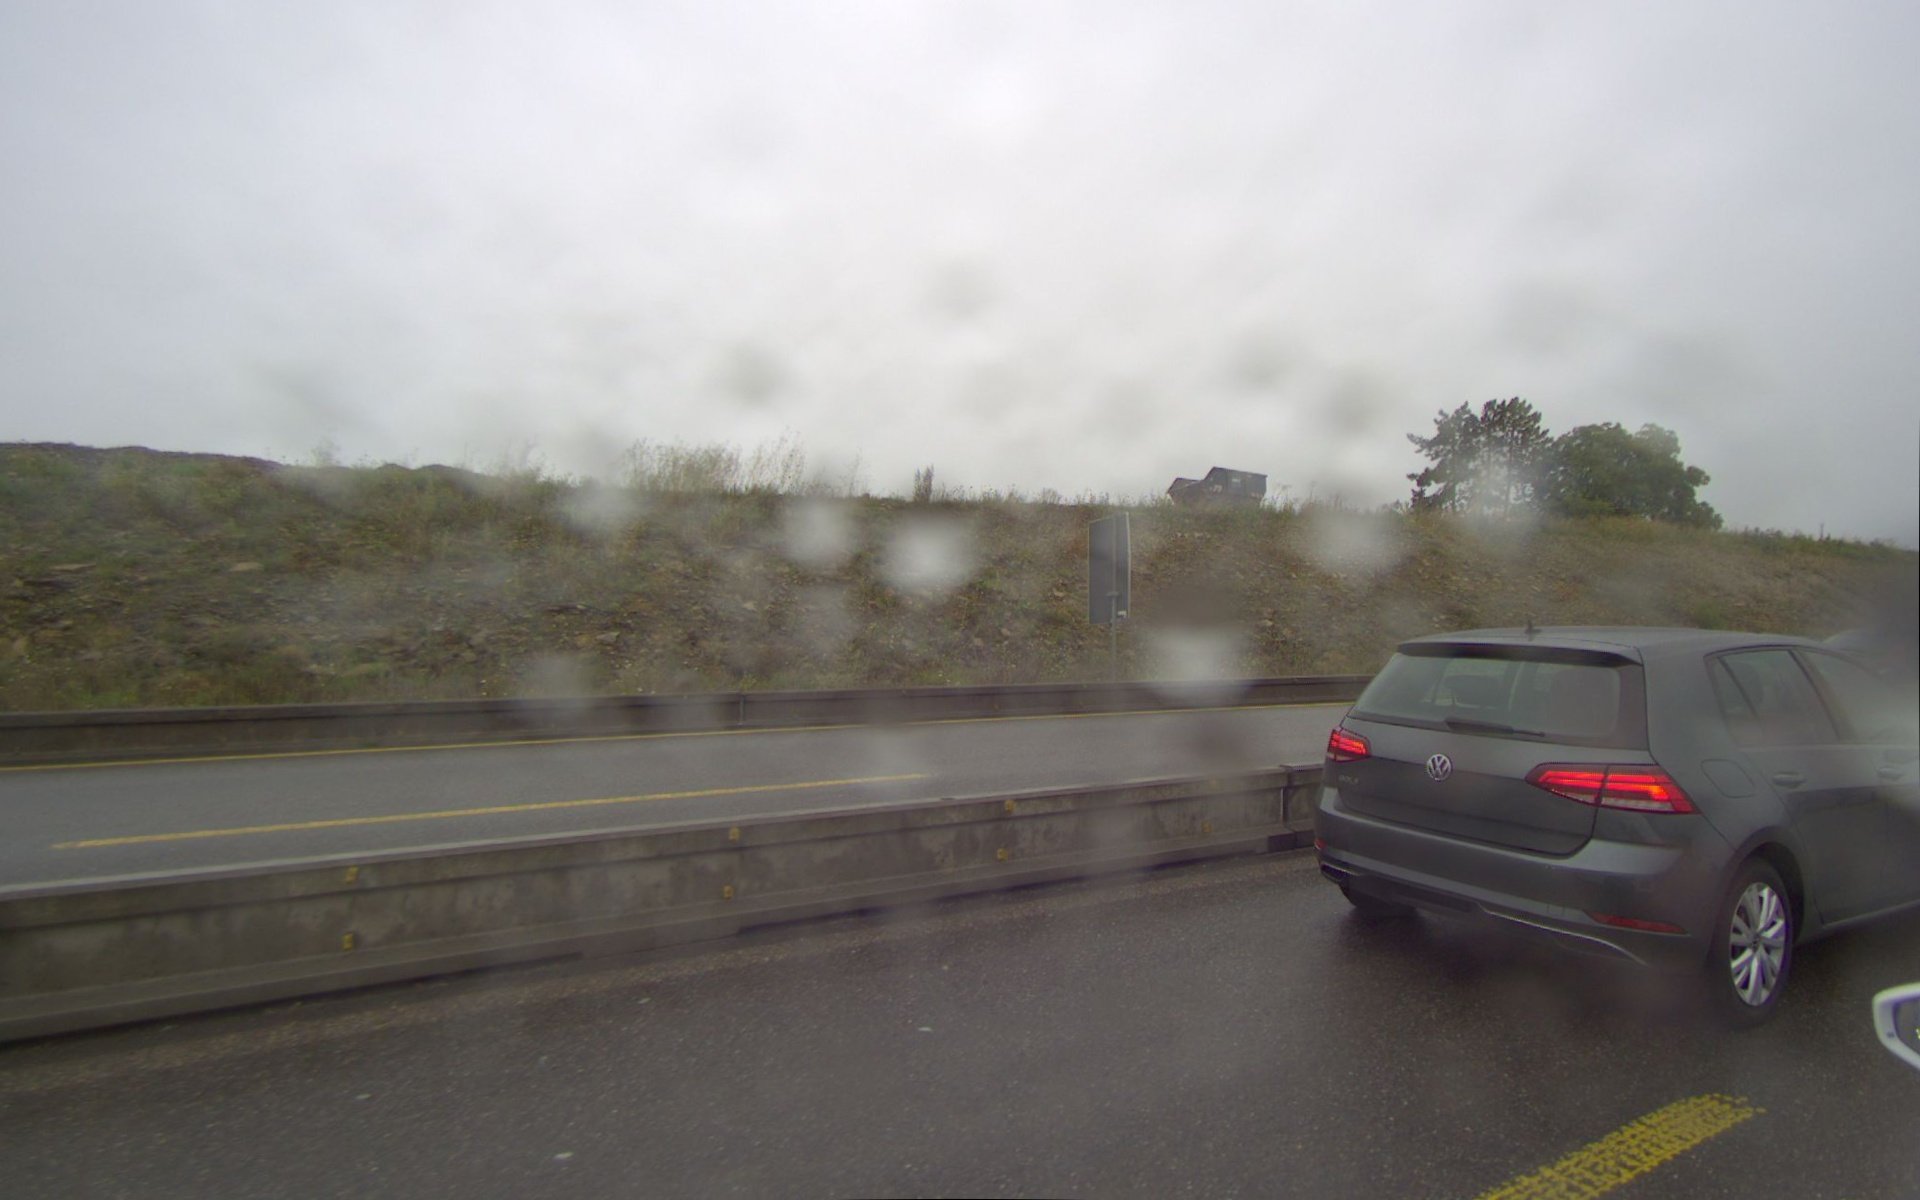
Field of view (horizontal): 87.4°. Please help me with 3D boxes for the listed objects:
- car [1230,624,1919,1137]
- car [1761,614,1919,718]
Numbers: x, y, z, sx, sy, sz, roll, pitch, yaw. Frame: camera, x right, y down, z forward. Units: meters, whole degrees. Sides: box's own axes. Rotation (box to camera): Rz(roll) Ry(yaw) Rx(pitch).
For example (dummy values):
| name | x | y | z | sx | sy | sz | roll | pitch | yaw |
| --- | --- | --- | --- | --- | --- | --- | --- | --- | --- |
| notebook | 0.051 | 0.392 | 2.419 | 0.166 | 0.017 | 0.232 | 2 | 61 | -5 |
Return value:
| name | x | y | z | sx | sy | sz | roll | pitch | yaw |
| --- | --- | --- | --- | --- | --- | --- | --- | --- | --- |
| car | 3.437 | 0.897 | 4.814 | 4.317 | 1.526 | 1.606 | 1 | -2 | -31 |
| car | 15.812 | 1.076 | 17.355 | 3.998 | 1.557 | 1.706 | 1 | 1 | -29 |
